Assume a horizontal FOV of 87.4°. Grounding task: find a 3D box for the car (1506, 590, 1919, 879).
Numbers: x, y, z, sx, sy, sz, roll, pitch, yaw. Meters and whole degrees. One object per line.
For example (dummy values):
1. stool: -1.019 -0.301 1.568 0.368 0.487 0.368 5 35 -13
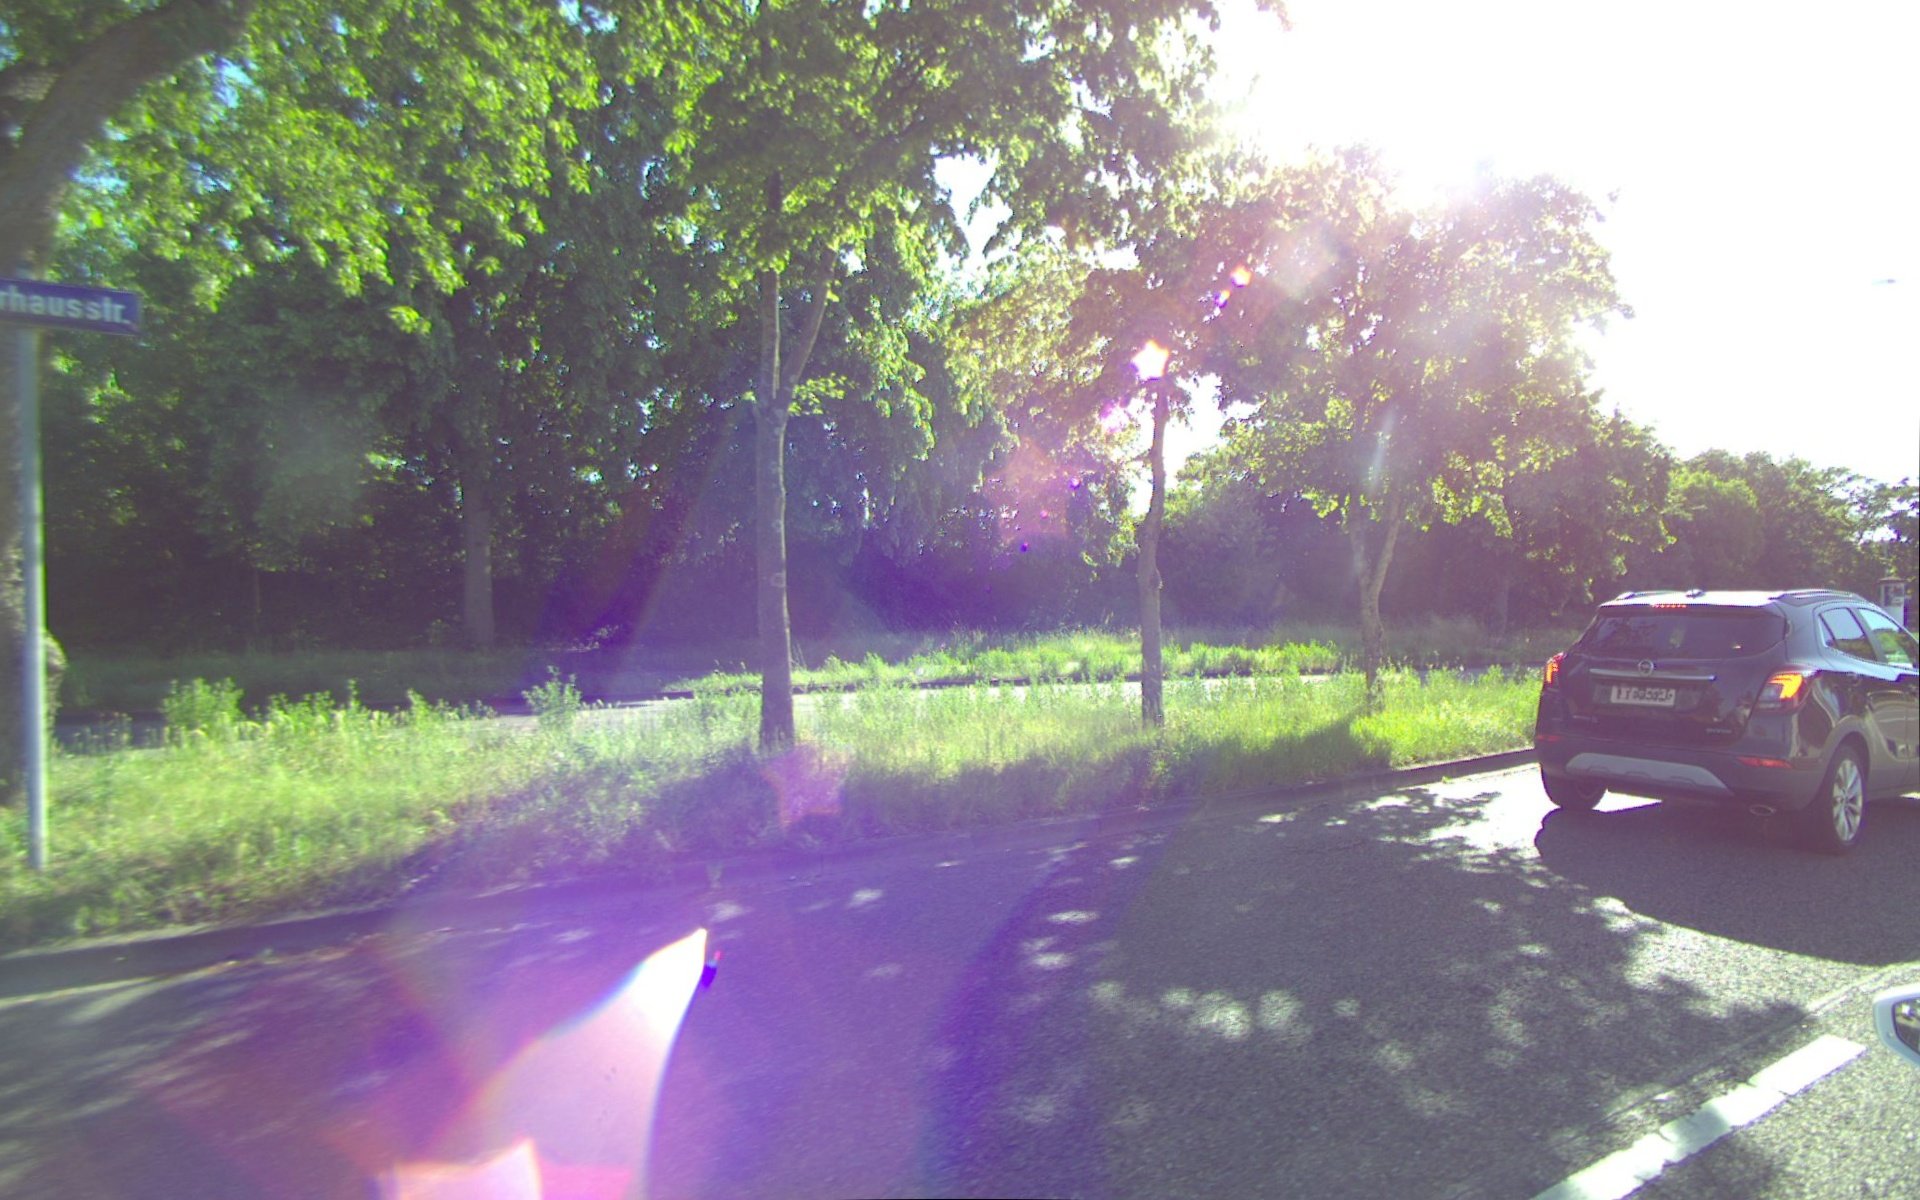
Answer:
1. car: 6.210 0.794 7.625 4.368 1.654 1.686 1 0 -32
